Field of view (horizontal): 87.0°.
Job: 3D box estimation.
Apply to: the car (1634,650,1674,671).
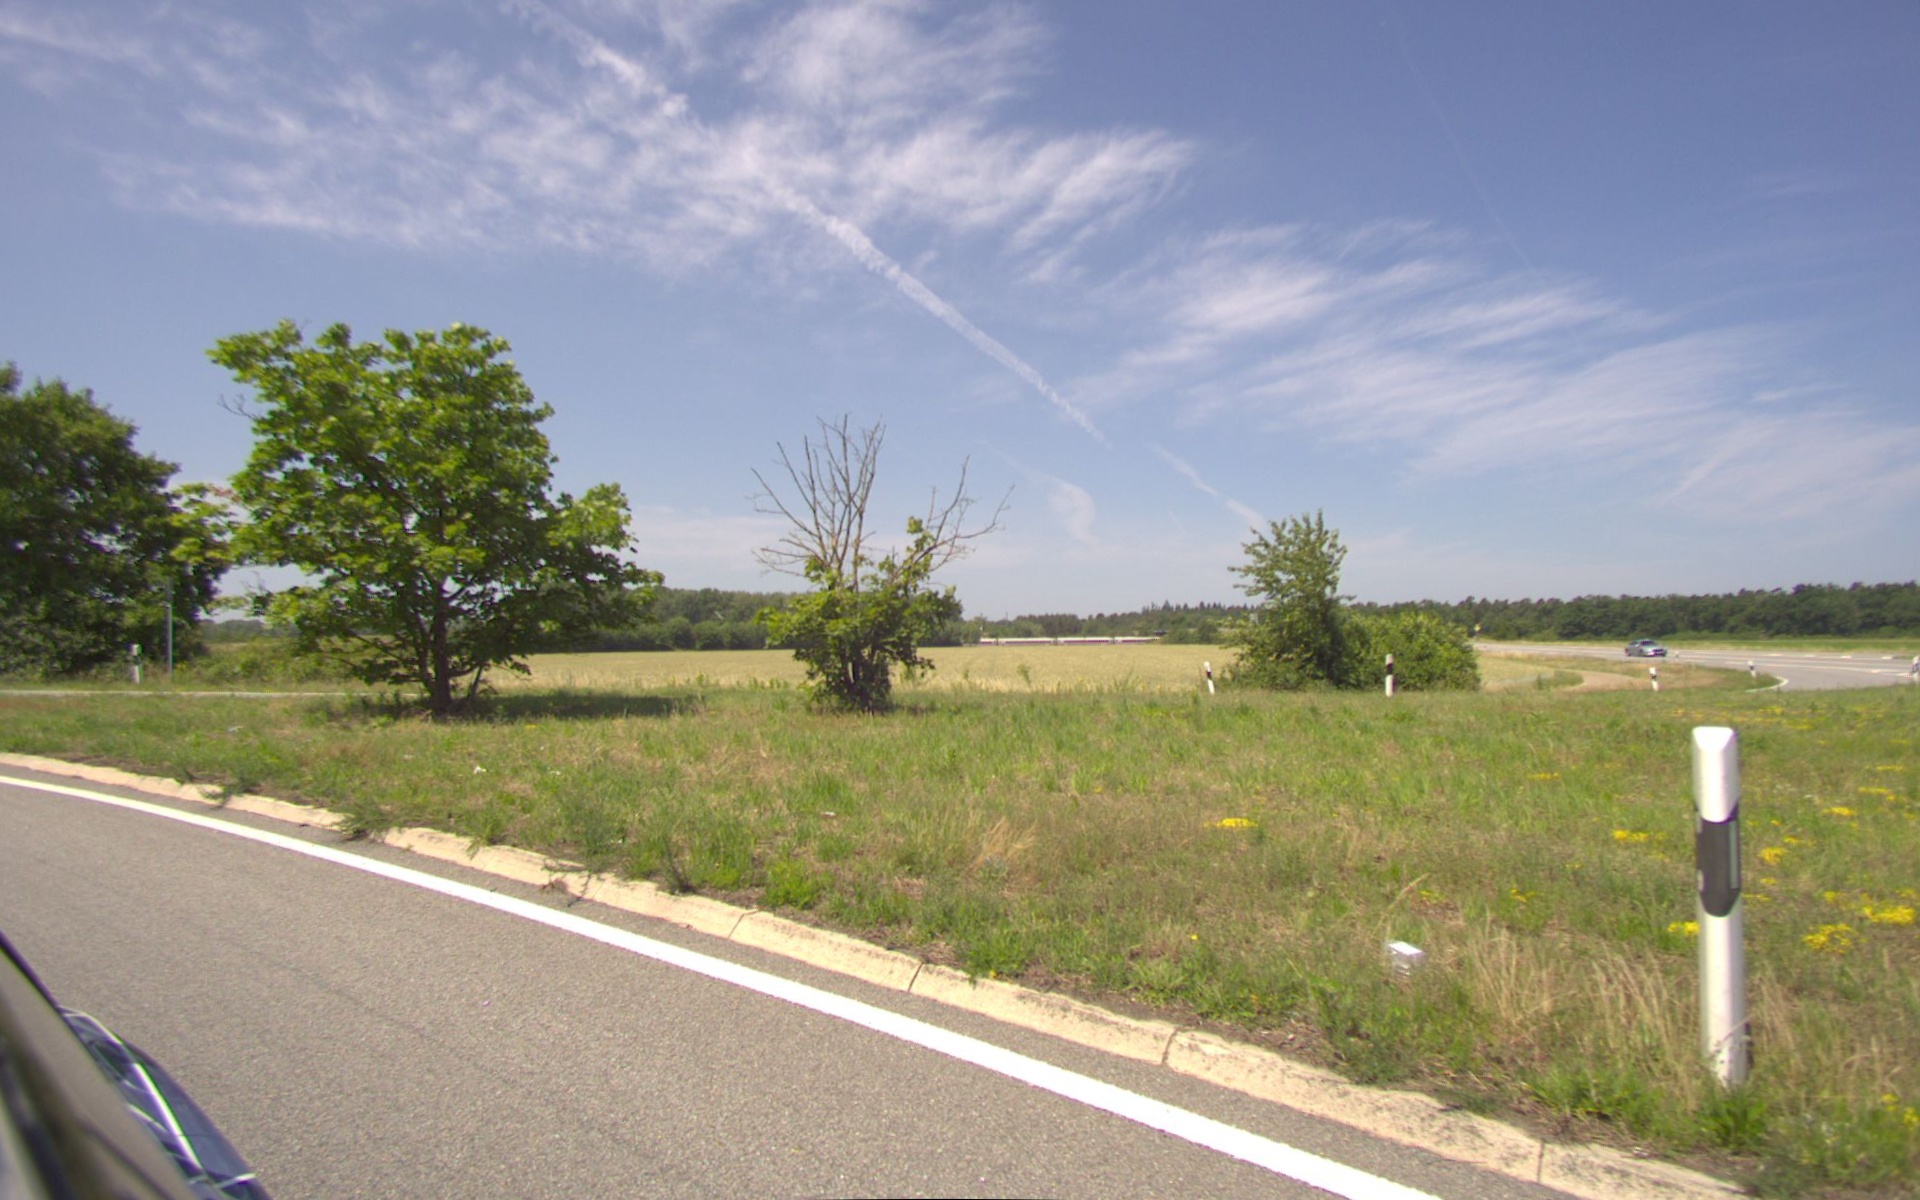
[{"bbox_3d":[60.262,5.251,87.943,1.711,1.719,3.409,-1,-2,14],"label":"car"}]
